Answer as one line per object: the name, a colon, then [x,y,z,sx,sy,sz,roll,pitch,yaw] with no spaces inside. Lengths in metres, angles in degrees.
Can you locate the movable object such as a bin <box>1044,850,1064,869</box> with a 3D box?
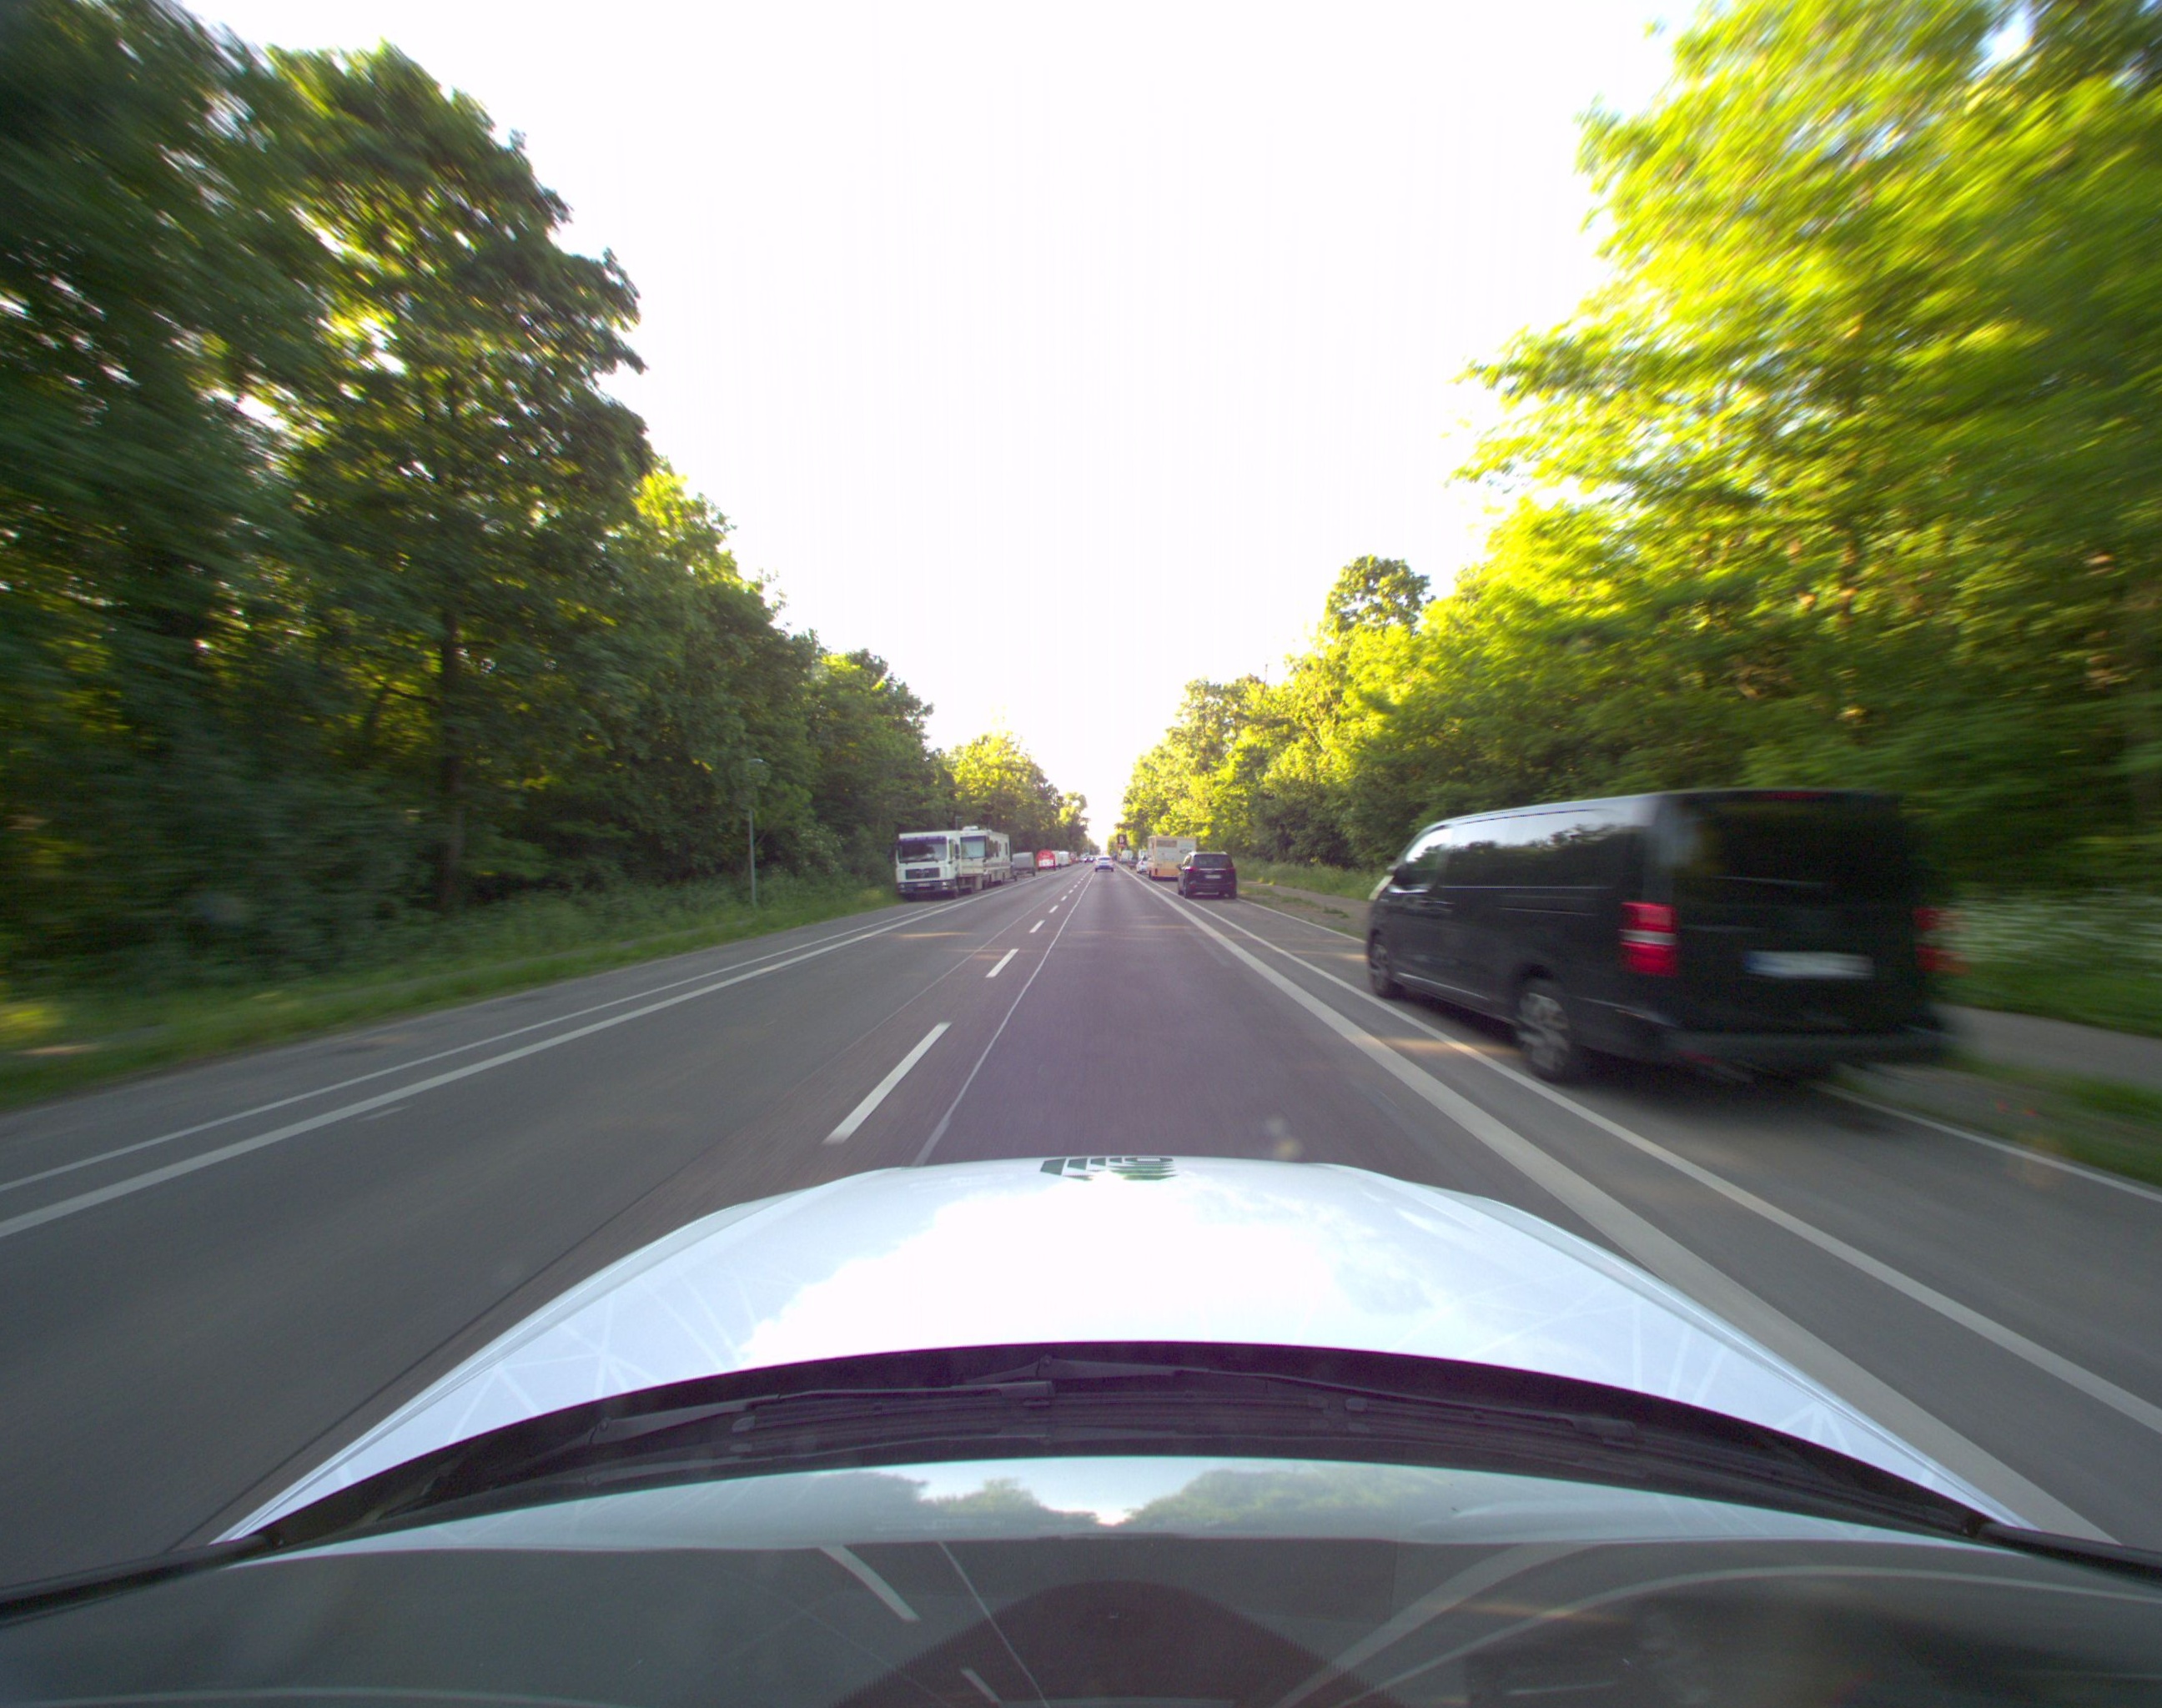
movable object such as a bin: [-3.617,0.734,109.508,2.313,2.501,4.001,-1,0,2]

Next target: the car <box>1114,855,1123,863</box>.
car: [7.504,0.986,163.086,1.650,1.478,3.755,-1,0,2]

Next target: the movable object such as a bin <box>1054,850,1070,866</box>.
movable object such as a bin: [-3.129,0.703,131.907,2.313,2.501,4.001,-1,0,2]

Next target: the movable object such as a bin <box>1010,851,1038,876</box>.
movable object such as a bin: [-4.911,0.797,70.822,1.946,2.013,4.001,-1,0,2]

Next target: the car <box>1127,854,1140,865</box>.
car: [7.649,0.817,118.724,1.650,1.478,3.755,-1,0,2]

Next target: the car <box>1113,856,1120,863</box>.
car: [8.426,1.297,195.587,1.650,1.478,3.755,-1,0,2]

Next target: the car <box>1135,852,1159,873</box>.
car: [5.438,0.695,67.655,1.726,1.684,4.001,-1,0,2]

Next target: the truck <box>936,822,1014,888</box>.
truck: [-5.890,0.059,47.391,2.697,3.347,10.928,-1,0,2]

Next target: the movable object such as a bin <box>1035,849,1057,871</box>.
movable object such as a bin: [-4.051,0.701,95.051,2.313,2.501,4.001,-1,0,2]

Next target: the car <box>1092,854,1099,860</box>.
car: [4.234,0.981,235.538,1.773,1.665,4.431,-3,0,2]

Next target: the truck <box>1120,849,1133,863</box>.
truck: [7.998,0.367,142.485,2.089,2.452,5.682,-1,0,2]

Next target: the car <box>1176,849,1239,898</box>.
car: [4.544,0.667,29.762,1.834,1.662,4.002,-1,0,2]

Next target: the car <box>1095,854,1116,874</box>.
car: [2.418,0.960,79.547,2.021,1.840,4.031,-1,0,2]

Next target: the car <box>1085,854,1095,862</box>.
car: [1.991,0.960,181.577,1.986,1.678,4.001,-3,0,2]

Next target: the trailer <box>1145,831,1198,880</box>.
trailer: [5.618,0.108,51.646,2.747,2.870,6.591,-1,0,2]

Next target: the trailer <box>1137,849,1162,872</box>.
trailer: [6.224,0.562,74.327,1.986,1.969,4.001,-1,0,2]

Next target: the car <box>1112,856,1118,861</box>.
car: [10.042,1.364,240.015,1.650,1.478,3.755,-1,0,2]

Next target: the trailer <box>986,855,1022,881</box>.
trailer: [-5.397,0.959,57.402,1.986,1.750,4.329,-1,0,2]

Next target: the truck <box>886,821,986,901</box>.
truck: [-6.176,0.291,36.036,2.697,3.093,7.992,-1,0,2]

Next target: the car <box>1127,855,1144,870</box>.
car: [5.826,0.910,87.562,1.650,1.478,3.755,-1,0,2]

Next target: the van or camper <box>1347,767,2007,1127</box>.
van or camper: [4.049,0.499,6.979,1.986,1.932,5.201,0,0,2]
